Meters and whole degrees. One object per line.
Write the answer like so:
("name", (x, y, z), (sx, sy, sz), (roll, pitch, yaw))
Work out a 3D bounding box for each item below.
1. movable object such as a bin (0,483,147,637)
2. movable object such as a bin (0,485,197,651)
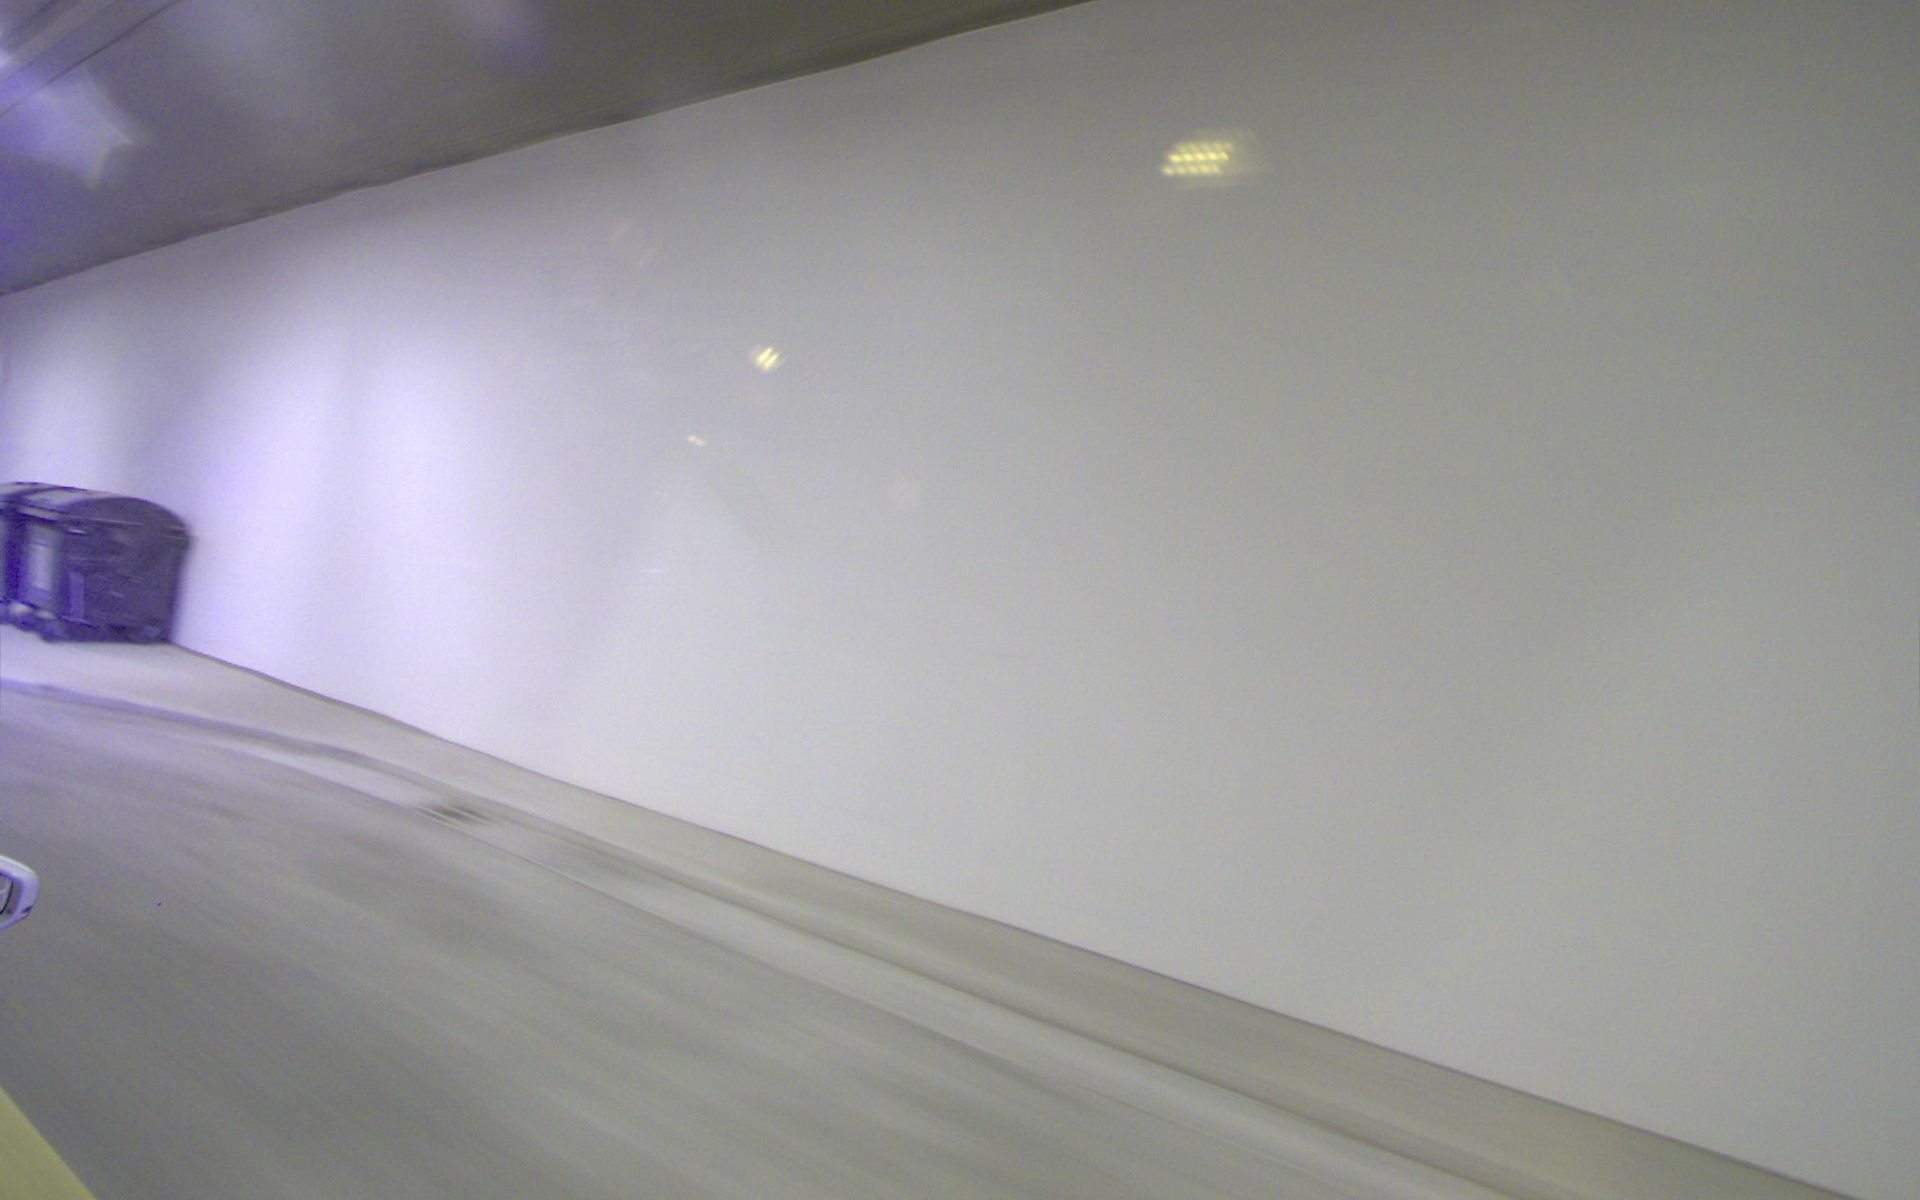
("movable object such as a bin", (-9.789, -0.436, 10.838), (1.342, 1.462, 1.147), (6, -1, 34))
("movable object such as a bin", (-8.652, -0.315, 10.105), (1.301, 1.462, 1.099), (6, -1, 34))
